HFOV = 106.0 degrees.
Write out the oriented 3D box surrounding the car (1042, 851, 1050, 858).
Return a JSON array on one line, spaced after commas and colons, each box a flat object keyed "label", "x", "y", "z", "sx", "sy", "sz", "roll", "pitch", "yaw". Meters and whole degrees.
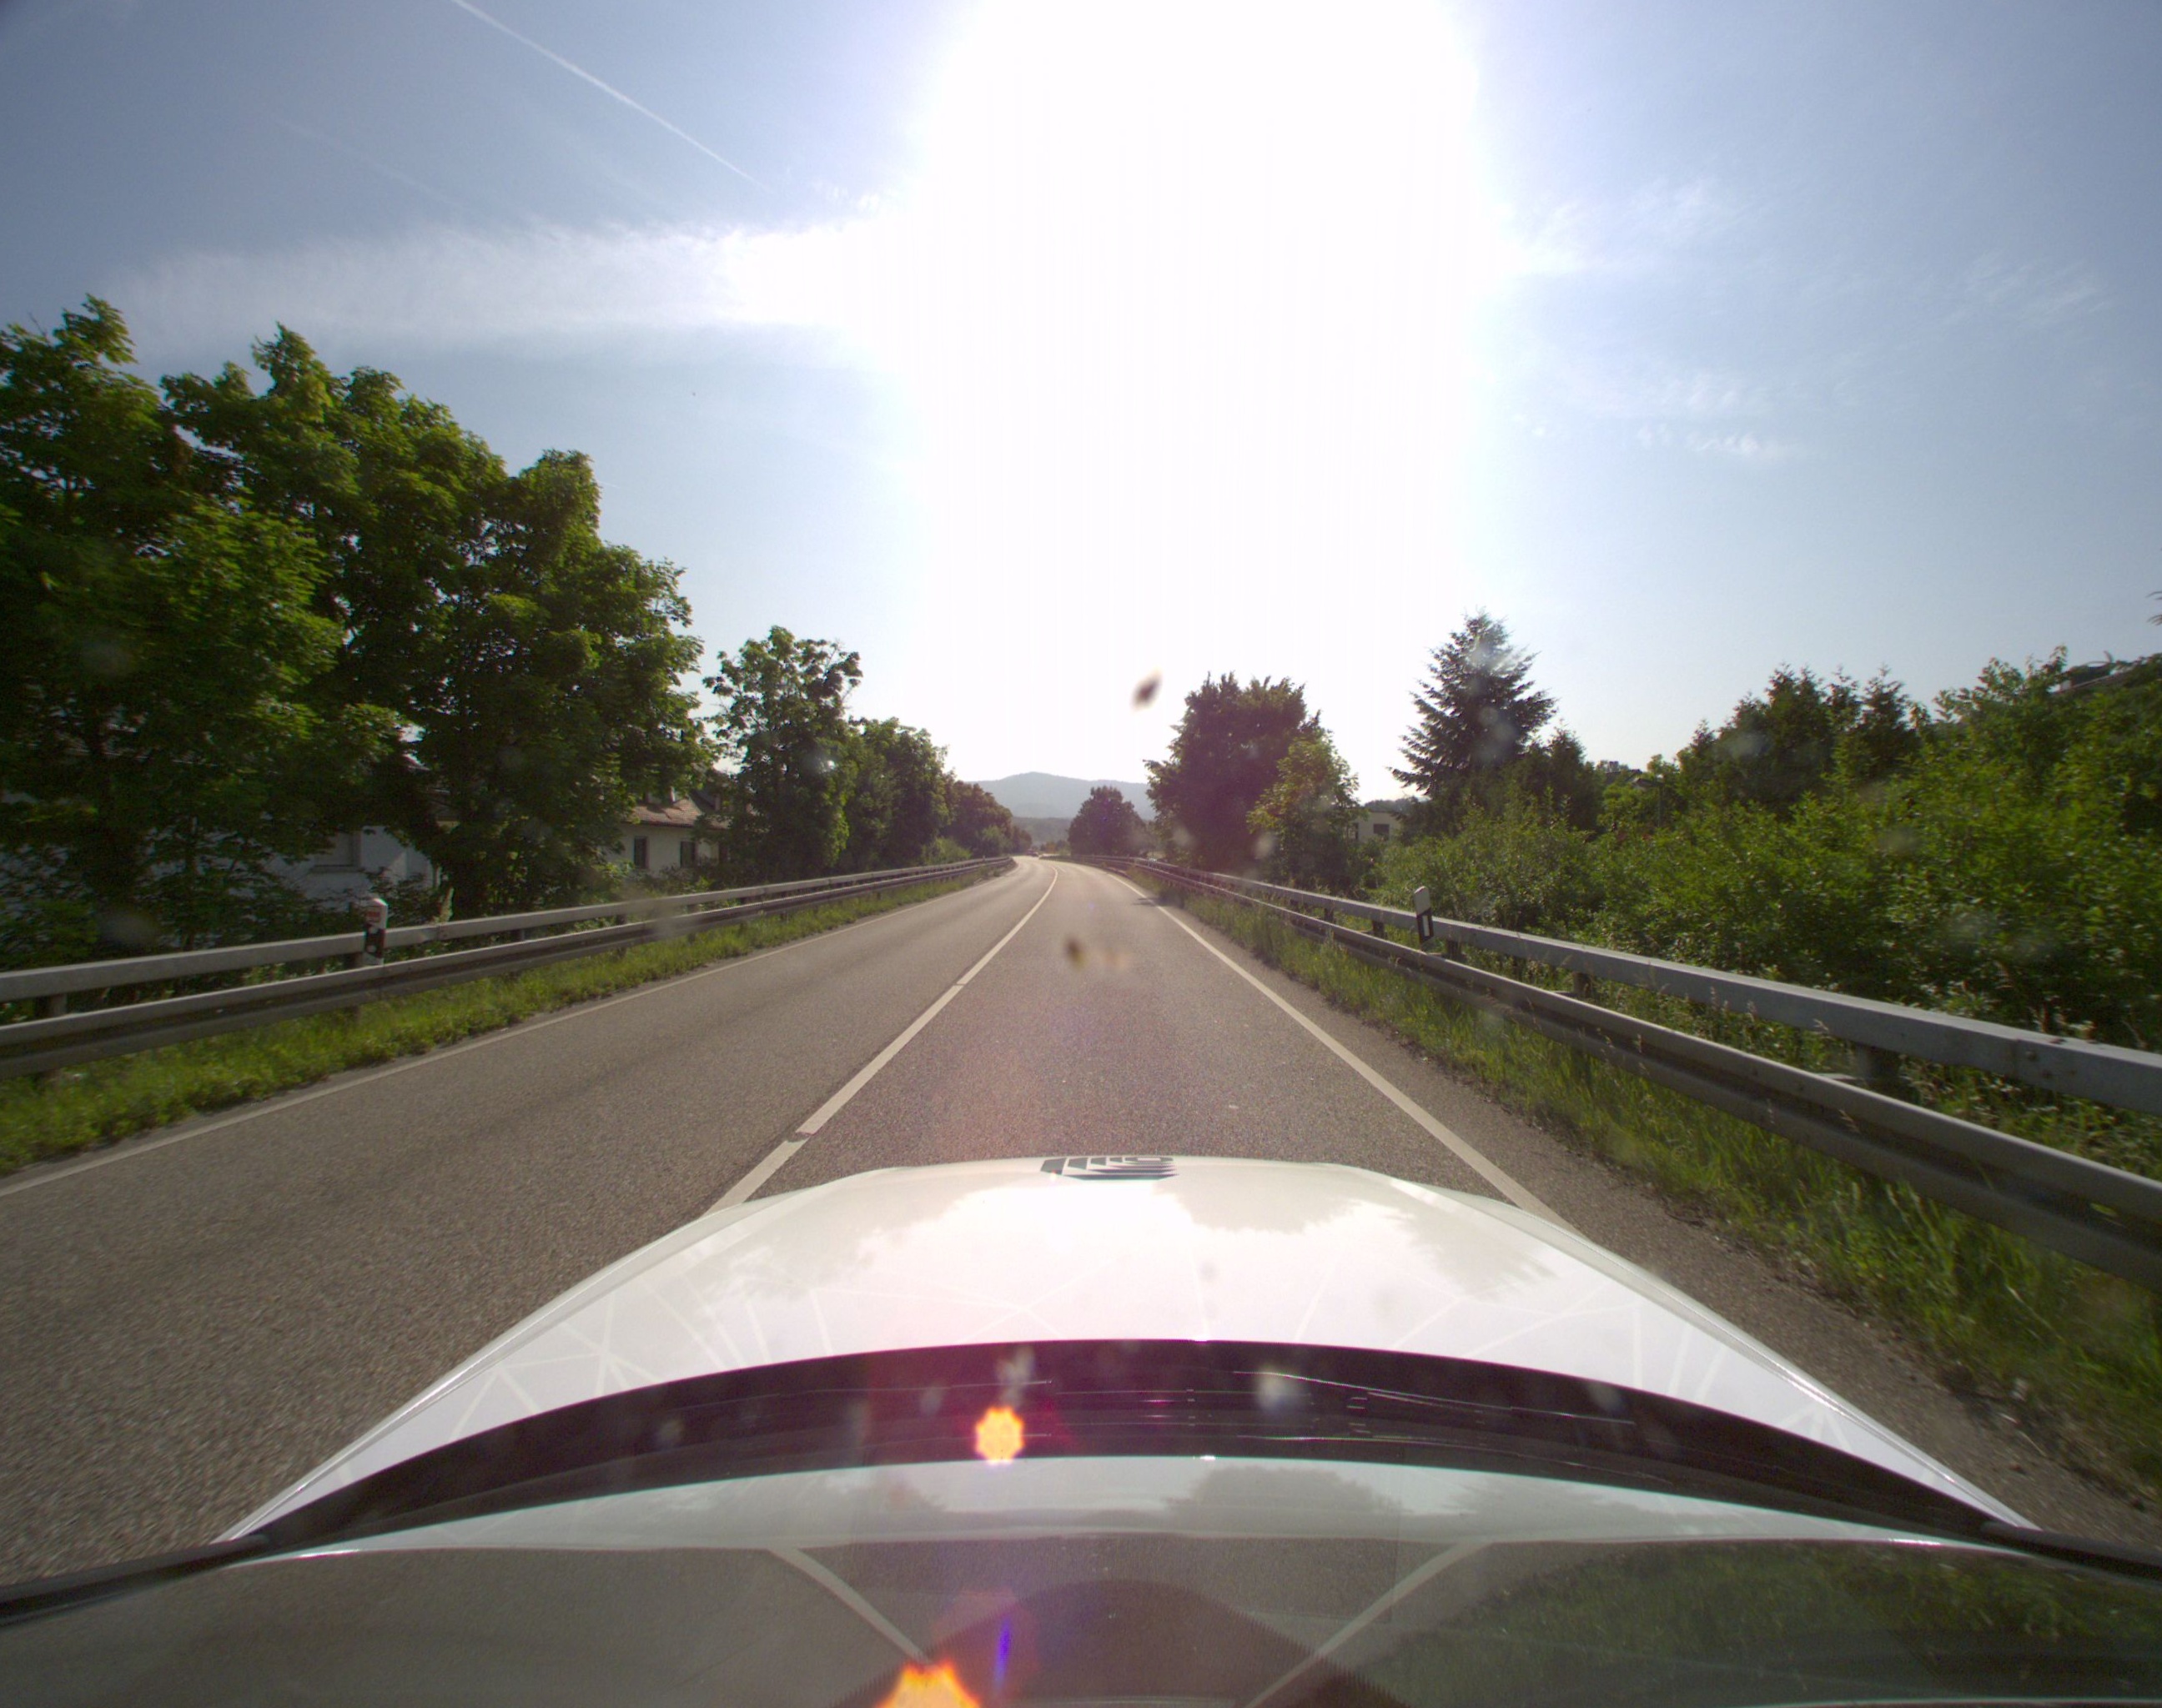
[{"label": "car", "x": -10.957, "y": 0.172, "z": 253.315, "sx": 1.985, "sy": 2.014, "sz": 4.003, "roll": -1, "pitch": -1, "yaw": 3}]
